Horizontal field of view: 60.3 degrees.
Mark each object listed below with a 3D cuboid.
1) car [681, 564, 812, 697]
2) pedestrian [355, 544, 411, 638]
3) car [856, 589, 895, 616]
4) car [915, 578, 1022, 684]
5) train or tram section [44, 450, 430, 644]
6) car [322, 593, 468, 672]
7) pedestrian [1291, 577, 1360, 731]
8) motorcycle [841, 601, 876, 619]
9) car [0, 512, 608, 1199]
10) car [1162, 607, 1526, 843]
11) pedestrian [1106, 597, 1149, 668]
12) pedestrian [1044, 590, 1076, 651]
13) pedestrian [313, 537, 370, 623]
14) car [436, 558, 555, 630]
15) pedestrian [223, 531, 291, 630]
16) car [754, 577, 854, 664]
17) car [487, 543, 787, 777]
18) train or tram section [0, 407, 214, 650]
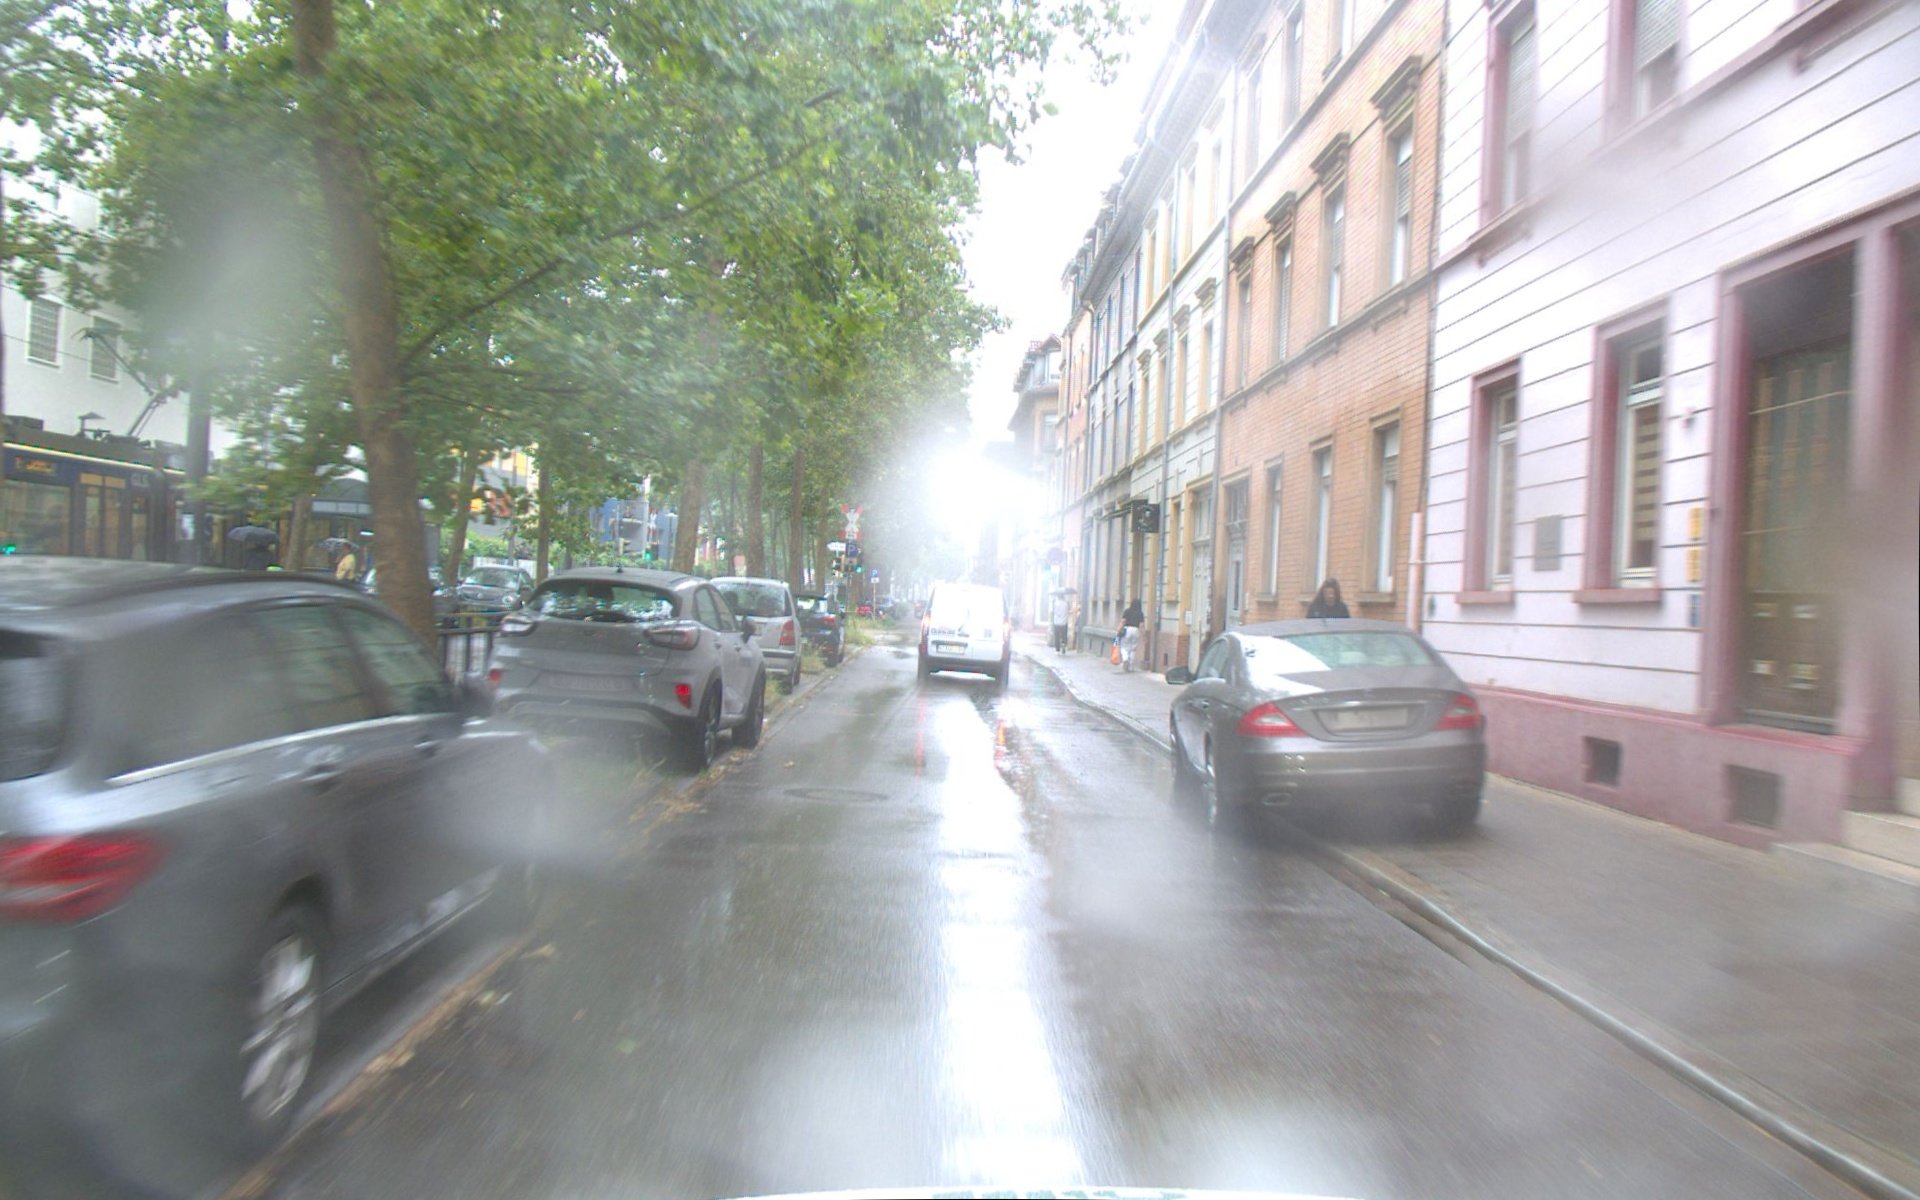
[{"bbox_3d":[-3.061,0.391,24.334,1.592,1.711,3.657,4,1,-4],"label":"car"},{"bbox_3d":[-12.972,-0.204,37.184,0.851,2.048,0.821,3,0,2],"label":"pedestrian"},{"bbox_3d":[-4.808,0.110,94.387,1.953,1.411,4.000,3,0,0],"label":"car"},{"bbox_3d":[0.128,0.608,32.124,1.865,1.829,4.112,3,-1,-1],"label":"car"},{"bbox_3d":[-16.357,-0.848,39.406,3.043,3.621,14.667,2,-1,-2],"label":"train or tram section"},{"bbox_3d":[-11.553,0.622,34.063,1.704,1.366,3.754,6,0,-2],"label":"car"},{"bbox_3d":[4.123,0.603,18.705,0.626,1.714,0.603,0,0,-2],"label":"pedestrian"},{"bbox_3d":[-5.249,0.514,85.561,1.670,0.880,0.577,3,0,4],"label":"motorcycle"},{"bbox_3d":[-2.521,0.567,5.418,1.792,1.529,4.611,4,0,-2],"label":"car"},{"bbox_3d":[2.663,0.784,12.587,1.776,1.445,4.697,-1,0,1],"label":"car"},{"bbox_3d":[3.666,0.703,36.301,0.823,1.538,1.107,0,0,-1],"label":"pedestrian"},{"bbox_3d":[2.895,0.589,47.908,0.823,1.746,1.107,-1,0,-1],"label":"pedestrian"},{"bbox_3d":[-12.930,-0.423,34.580,0.801,1.733,0.872,3,0,-2],"label":"pedestrian"},{"bbox_3d":[-11.773,-0.159,42.199,1.954,1.641,3.998,3,0,-2],"label":"car"},{"bbox_3d":[-12.838,-0.353,30.226,0.801,1.733,0.872,3,0,-2],"label":"pedestrian"},{"bbox_3d":[-3.108,0.402,33.621,1.616,1.526,4.118,5,0,-1],"label":"car"},{"bbox_3d":[-2.620,0.454,14.419,1.664,1.664,4.354,2,0,0],"label":"car"},{"bbox_3d":[-15.860,-1.119,24.784,3.043,3.621,14.570,2,-1,-2],"label":"train or tram section"}]
